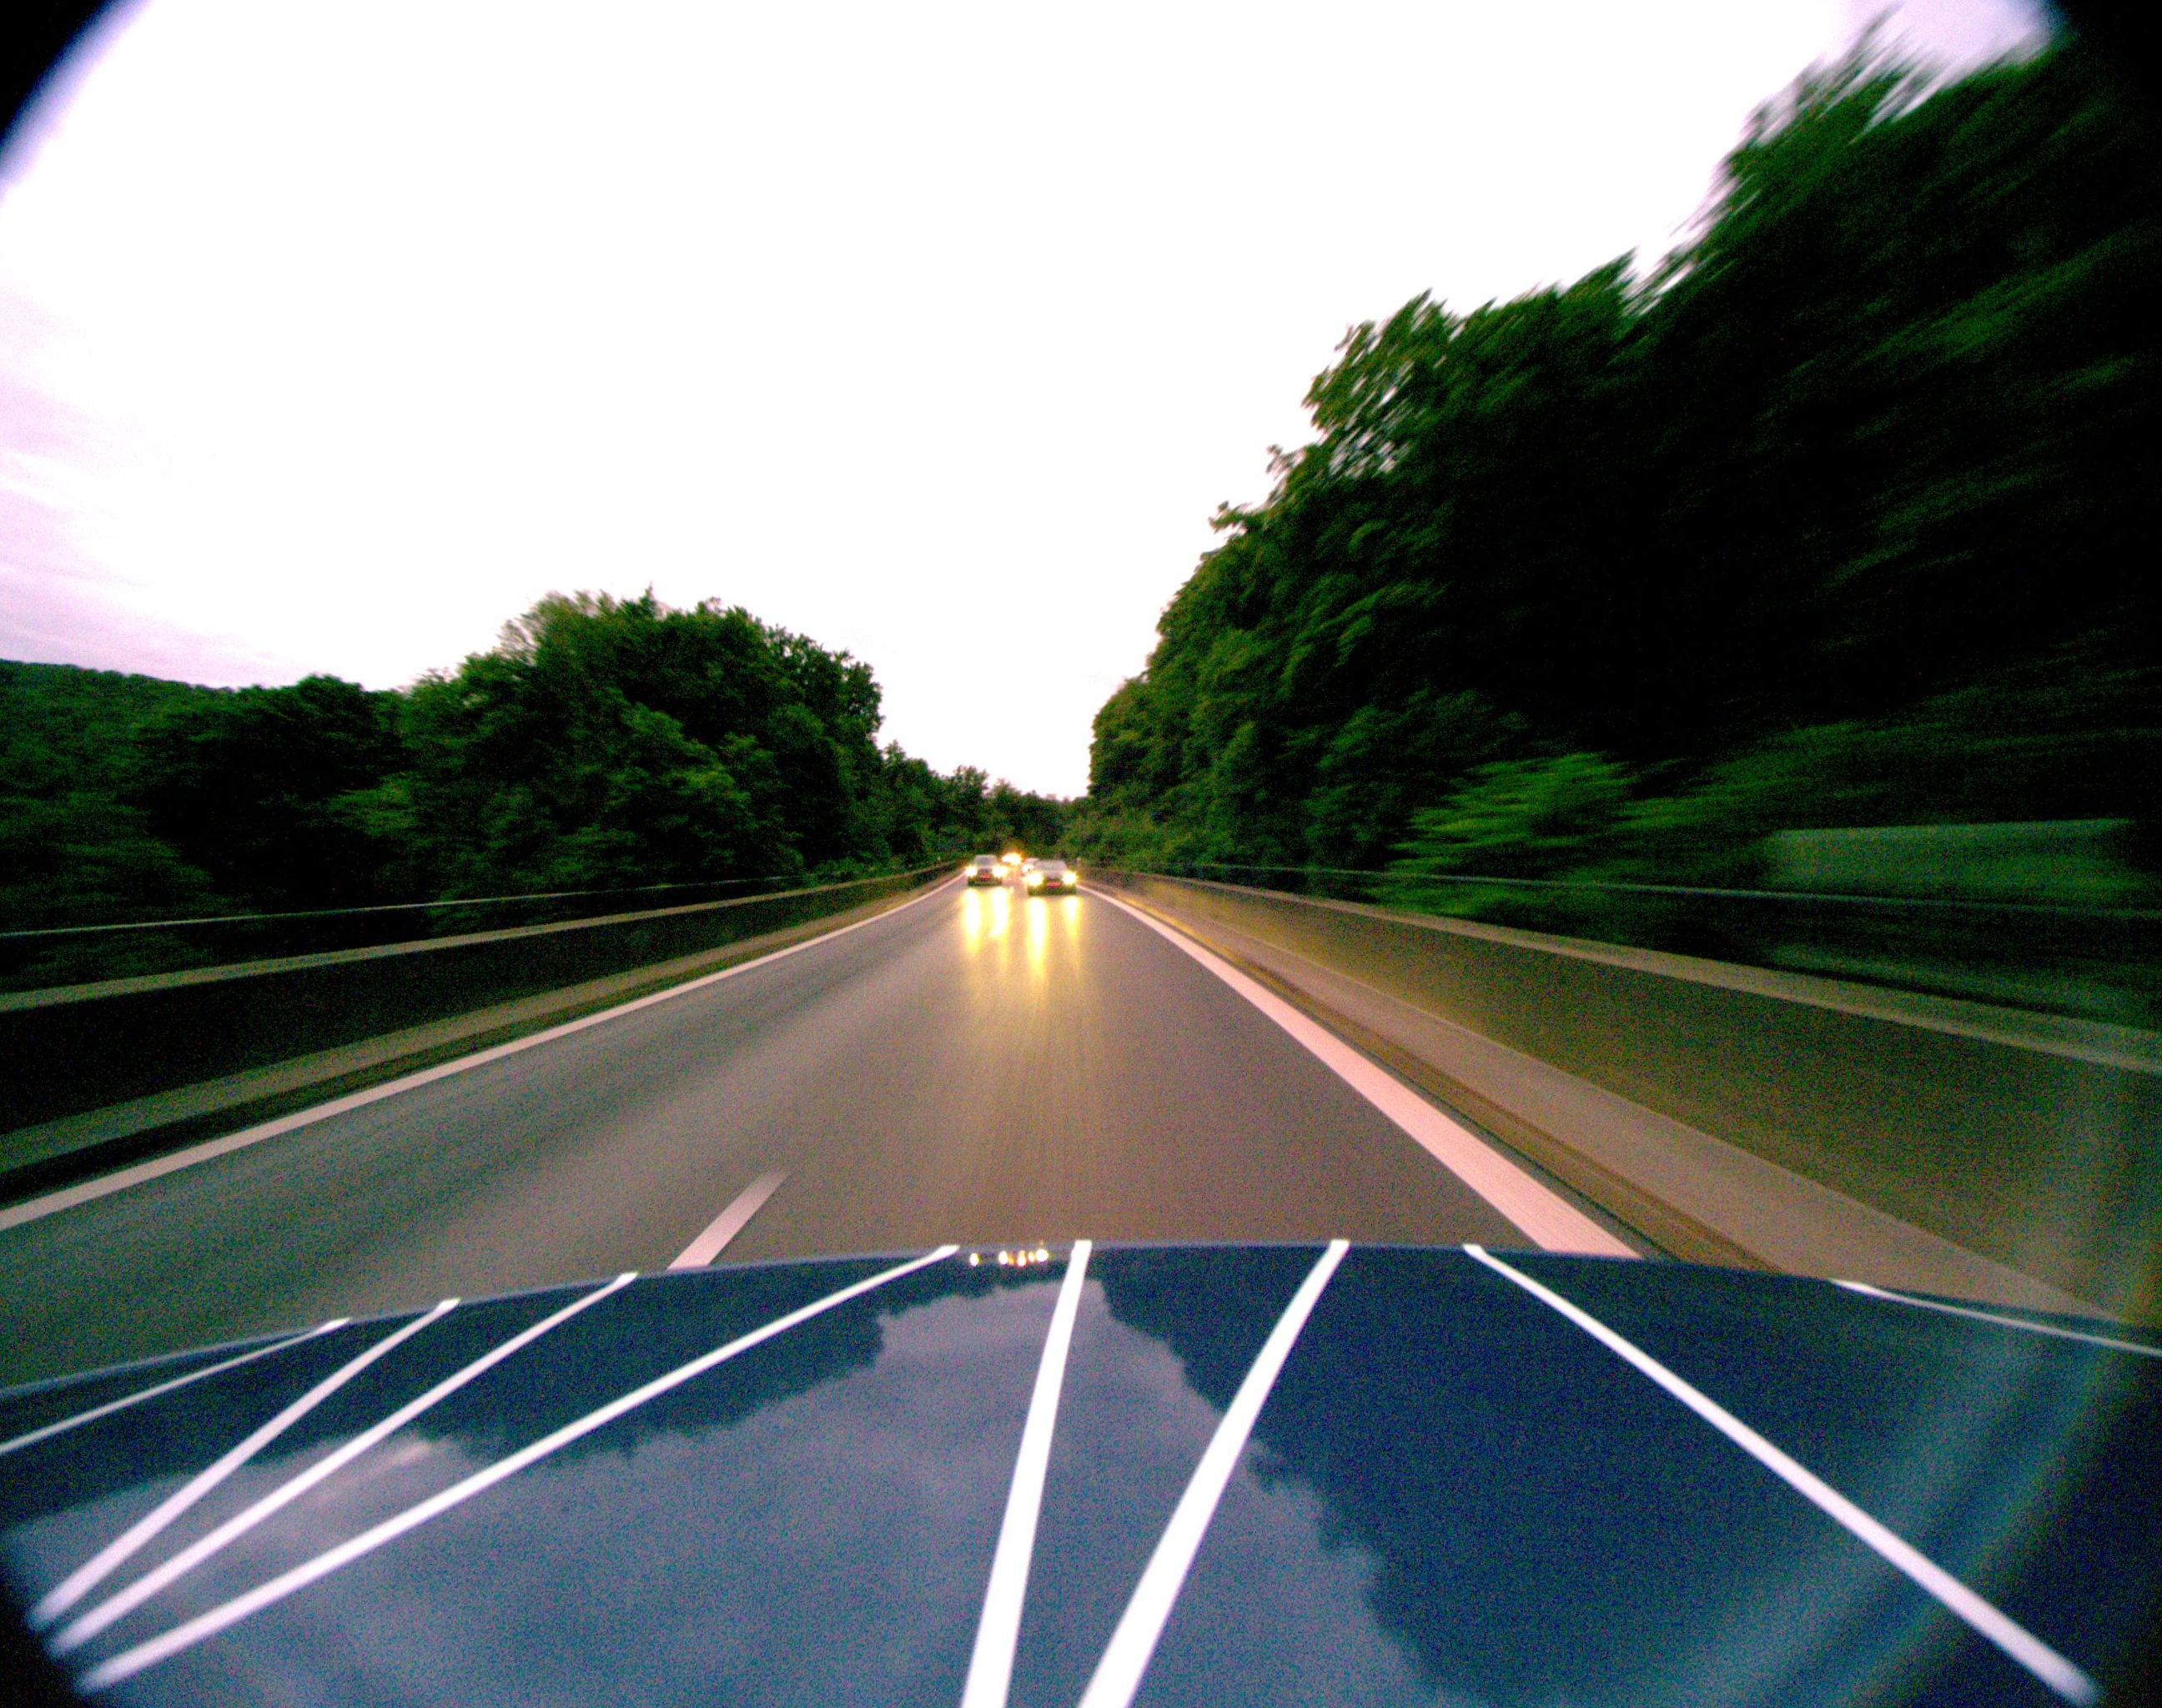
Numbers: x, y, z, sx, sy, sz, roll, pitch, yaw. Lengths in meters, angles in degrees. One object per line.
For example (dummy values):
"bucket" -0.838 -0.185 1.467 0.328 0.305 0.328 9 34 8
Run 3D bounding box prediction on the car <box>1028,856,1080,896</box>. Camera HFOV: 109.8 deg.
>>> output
"car" -1.167 0.849 31.620 1.999 1.499 3.999 -1 0 -3

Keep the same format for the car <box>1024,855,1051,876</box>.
"car" -3.452 0.907 60.815 1.999 1.499 3.998 2 0 -3

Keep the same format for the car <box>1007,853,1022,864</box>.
"car" -10.249 0.724 117.792 1.999 1.608 3.999 3 0 -2

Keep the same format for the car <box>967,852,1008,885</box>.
"car" -5.171 0.777 42.443 1.999 1.630 3.997 1 1 -4
